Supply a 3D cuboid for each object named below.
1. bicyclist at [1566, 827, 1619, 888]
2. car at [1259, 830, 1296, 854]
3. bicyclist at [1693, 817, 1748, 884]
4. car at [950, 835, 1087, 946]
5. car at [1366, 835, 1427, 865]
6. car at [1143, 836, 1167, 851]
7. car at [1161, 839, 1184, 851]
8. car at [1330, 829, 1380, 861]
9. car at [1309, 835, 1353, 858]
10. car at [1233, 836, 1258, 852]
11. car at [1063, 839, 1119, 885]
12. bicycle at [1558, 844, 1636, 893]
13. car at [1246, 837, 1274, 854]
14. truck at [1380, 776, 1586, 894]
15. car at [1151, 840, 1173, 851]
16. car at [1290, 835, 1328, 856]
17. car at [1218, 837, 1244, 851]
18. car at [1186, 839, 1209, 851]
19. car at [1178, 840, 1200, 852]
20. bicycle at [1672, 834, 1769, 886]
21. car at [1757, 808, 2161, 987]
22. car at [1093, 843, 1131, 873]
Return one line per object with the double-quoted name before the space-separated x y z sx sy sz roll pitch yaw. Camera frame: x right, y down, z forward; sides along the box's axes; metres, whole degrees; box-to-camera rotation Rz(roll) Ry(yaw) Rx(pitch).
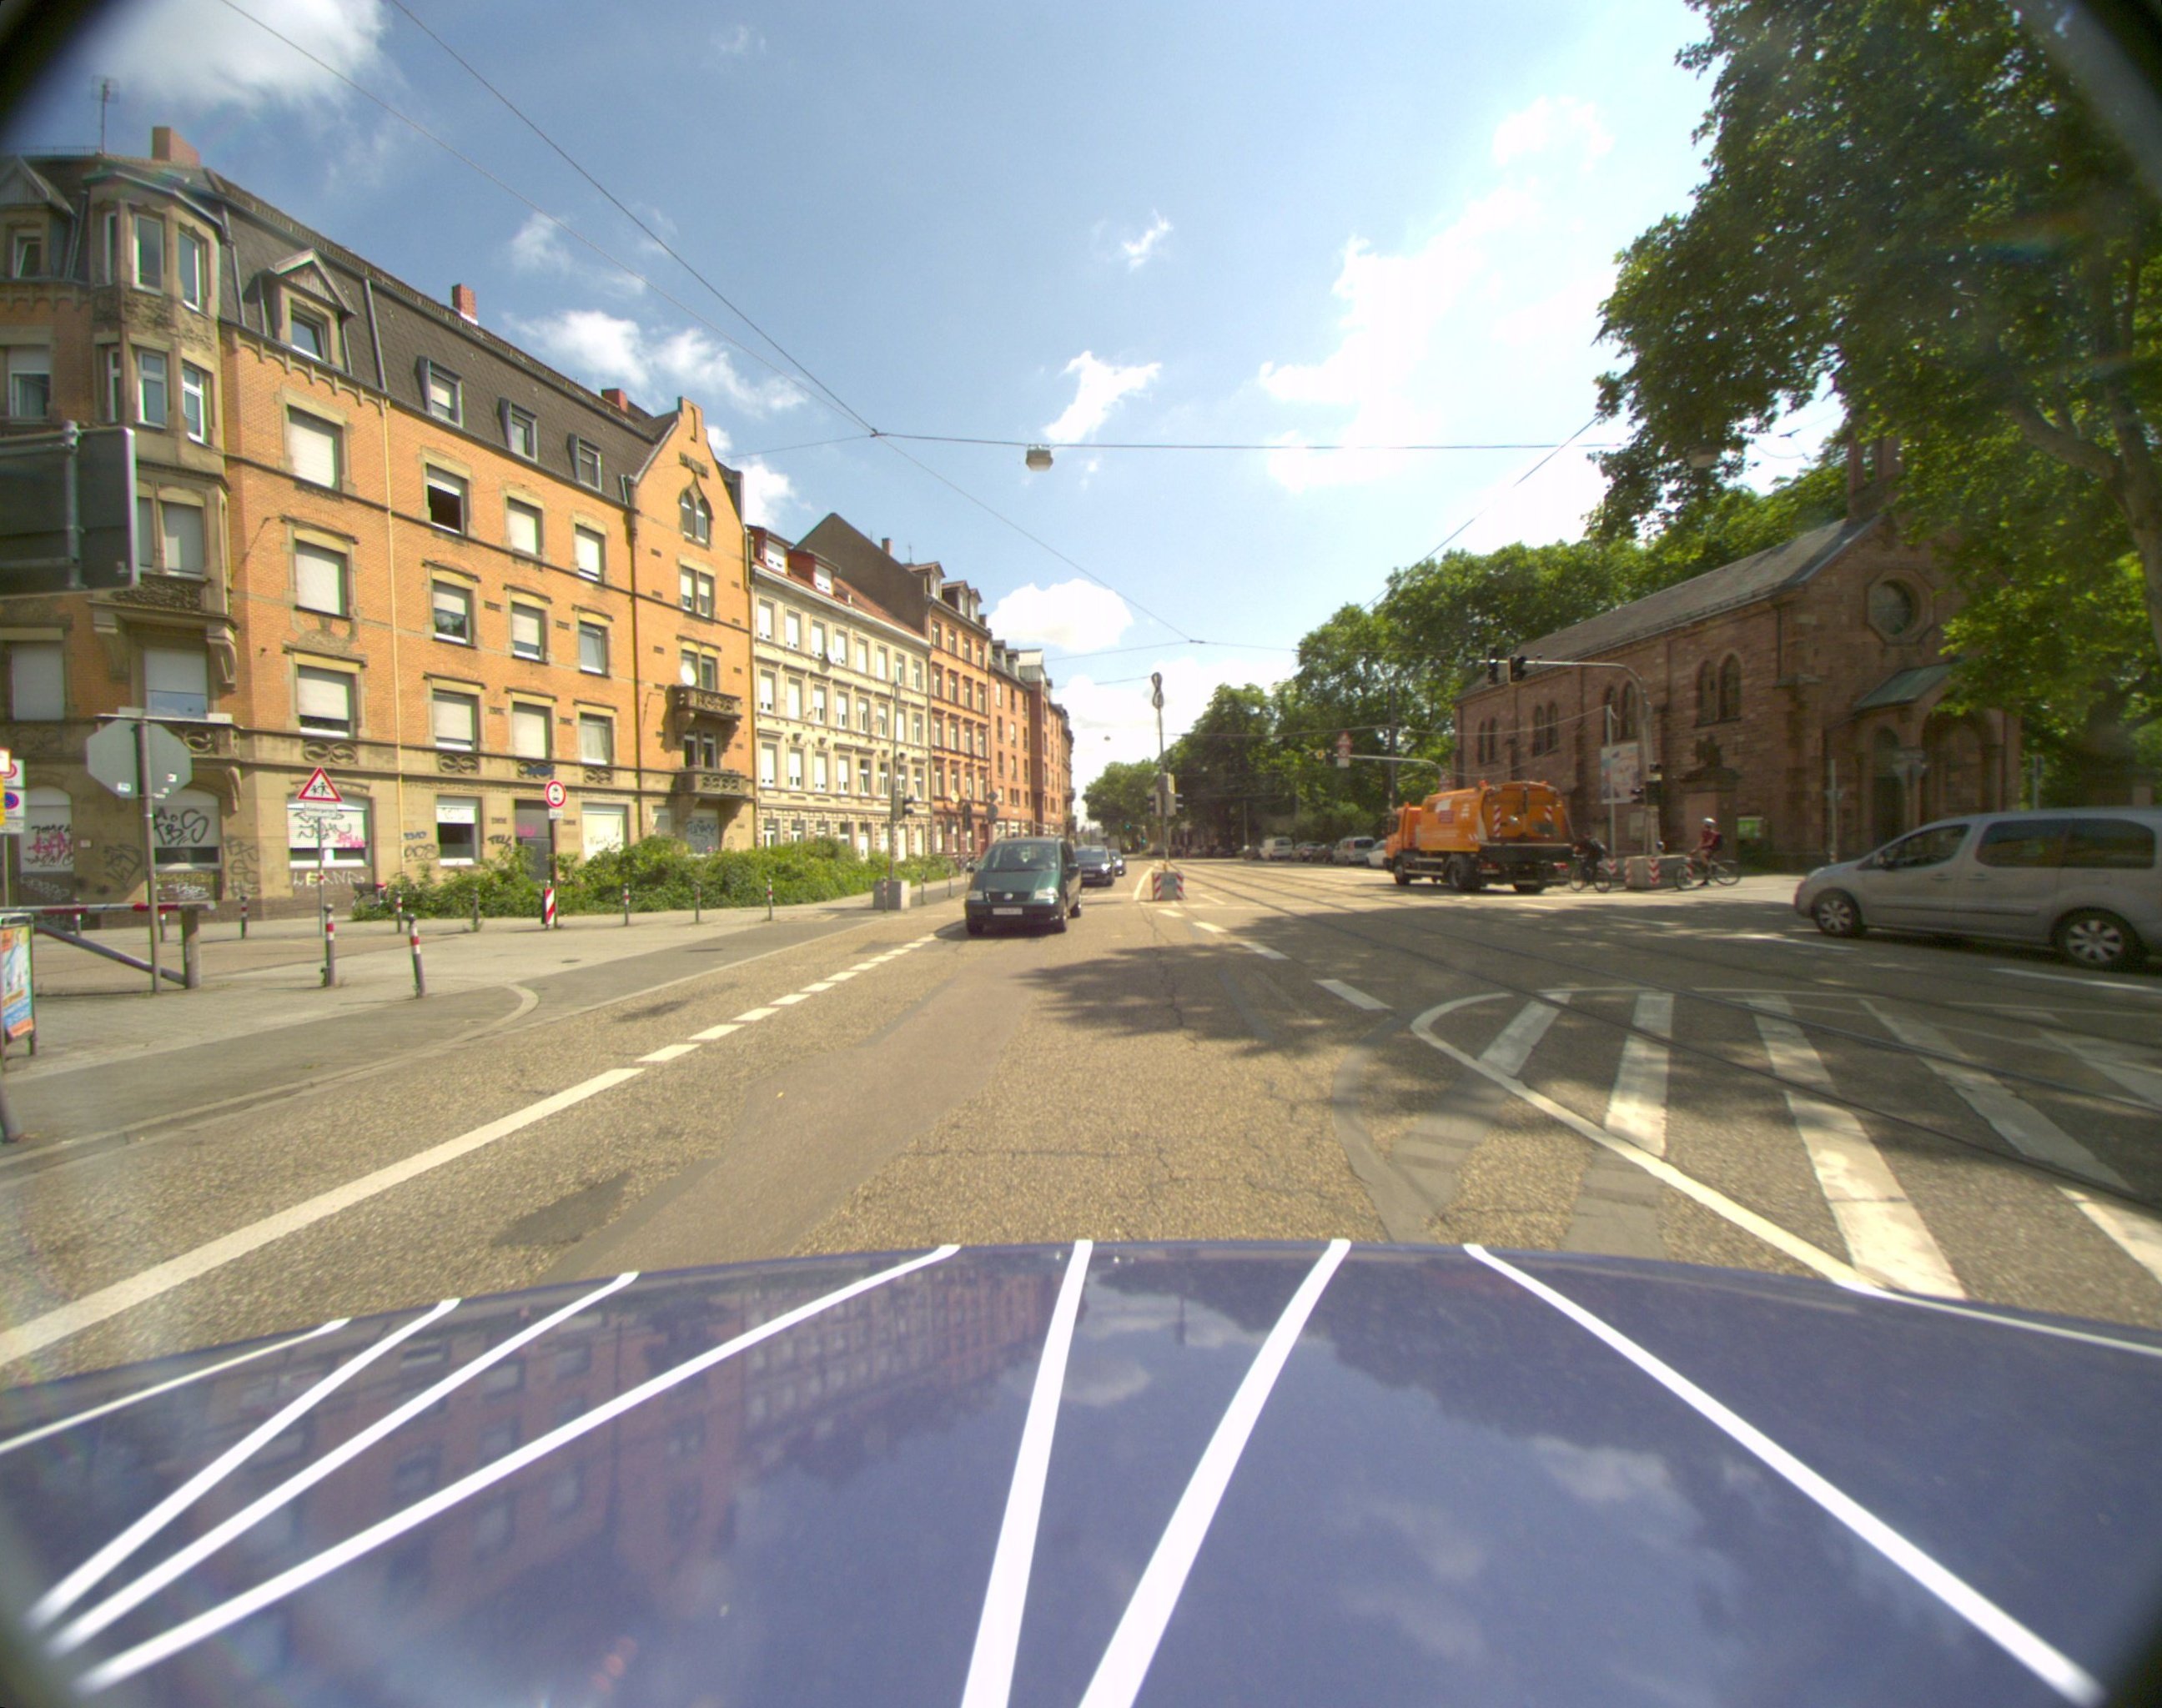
"bicyclist" 14.536 0.079 21.622 0.703 1.676 1.175 -1 1 0
"car" 17.329 -1.064 67.155 1.993 1.993 4.083 -3 2 -1
"bicyclist" 17.701 -0.106 21.041 0.884 1.774 0.662 -4 2 0
"car" -1.018 0.549 15.076 1.822 1.747 5.031 -2 2 5
"car" 17.213 -0.283 41.667 1.761 1.489 3.999 -3 1 2
"car" 11.902 -1.692 122.458 1.765 2.172 3.991 -4 2 -28
"car" 12.960 -1.275 108.024 1.763 1.489 3.994 -3 2 -15
"car" 17.297 -0.601 48.155 1.761 1.826 3.999 -3 1 2
"car" 17.397 -0.567 53.048 1.761 1.489 3.999 -3 1 2
"car" 17.057 -1.050 78.718 1.761 1.489 3.999 -3 1 2
"car" 0.462 0.265 30.699 1.875 1.610 4.189 -2 2 5
"bicycle" 14.545 0.370 21.502 0.706 1.282 2.218 -1 1 0
"car" 17.077 -0.861 72.684 1.761 1.489 3.999 -3 1 2
"truck" 11.972 -0.588 23.589 2.645 3.089 7.221 0 1 1
"car" 11.927 -1.308 112.617 1.763 1.489 3.993 -3 2 -17
"car" 17.459 -0.698 58.294 1.761 1.489 3.999 -3 1 2
"car" 16.946 -1.114 85.807 1.762 1.489 3.997 -3 1 -6
"car" 14.828 -1.159 96.704 1.762 1.489 3.996 -3 1 -8
"car" 14.321 -1.131 100.900 1.762 1.489 3.996 -3 1 -9
"bicycle" 17.707 0.154 21.051 2.087 1.283 0.671 -4 2 0
"car" 11.438 0.383 9.462 1.925 1.736 4.536 1 1 0
"car" 1.707 0.199 41.527 1.914 1.386 4.313 -2 2 3
